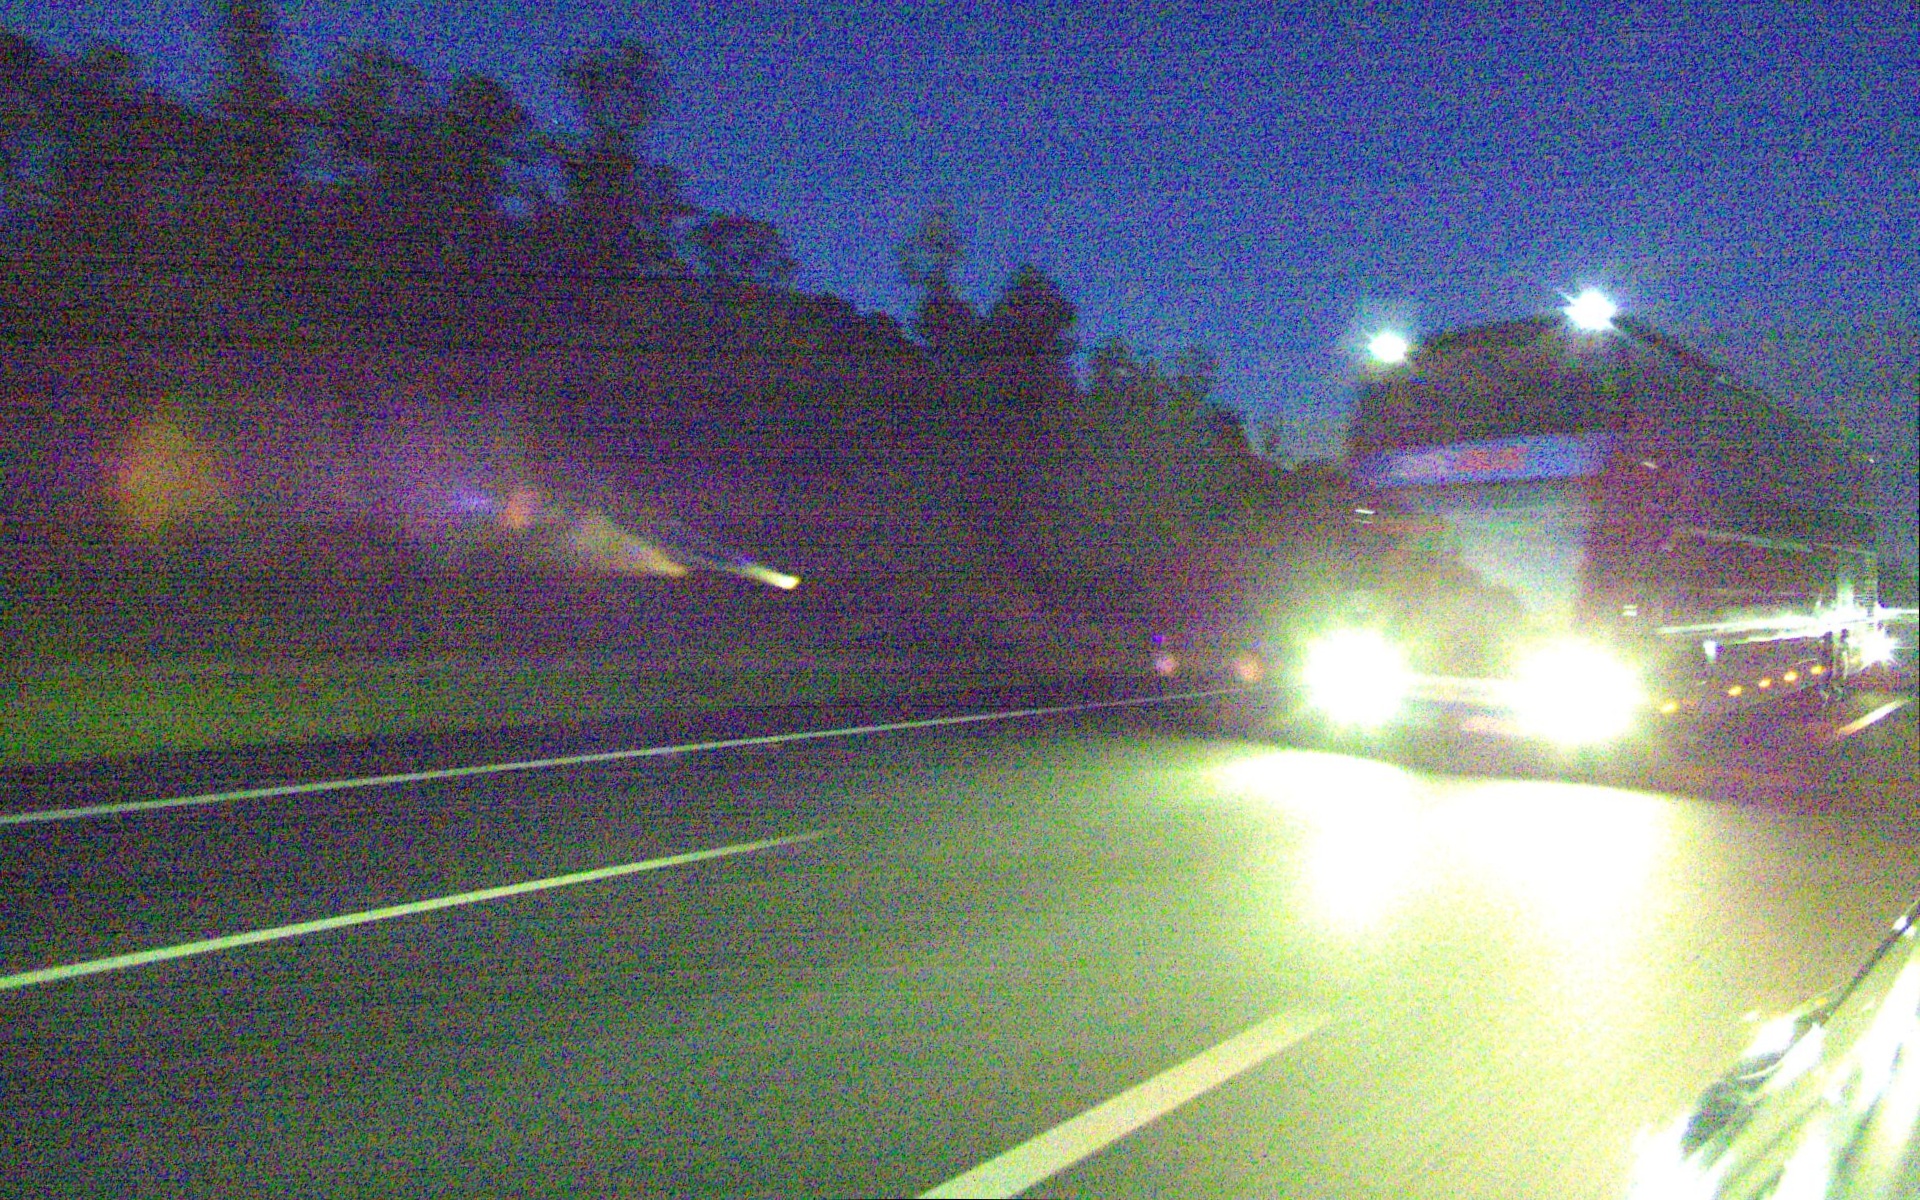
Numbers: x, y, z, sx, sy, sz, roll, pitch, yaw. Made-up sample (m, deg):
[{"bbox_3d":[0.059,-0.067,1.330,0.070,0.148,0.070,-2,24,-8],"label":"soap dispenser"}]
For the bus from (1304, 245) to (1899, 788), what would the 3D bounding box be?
[{"bbox_3d":[9.553,-0.655,13.328,14.447,4.045,2.656,0,-1,-42],"label":"bus"}]
